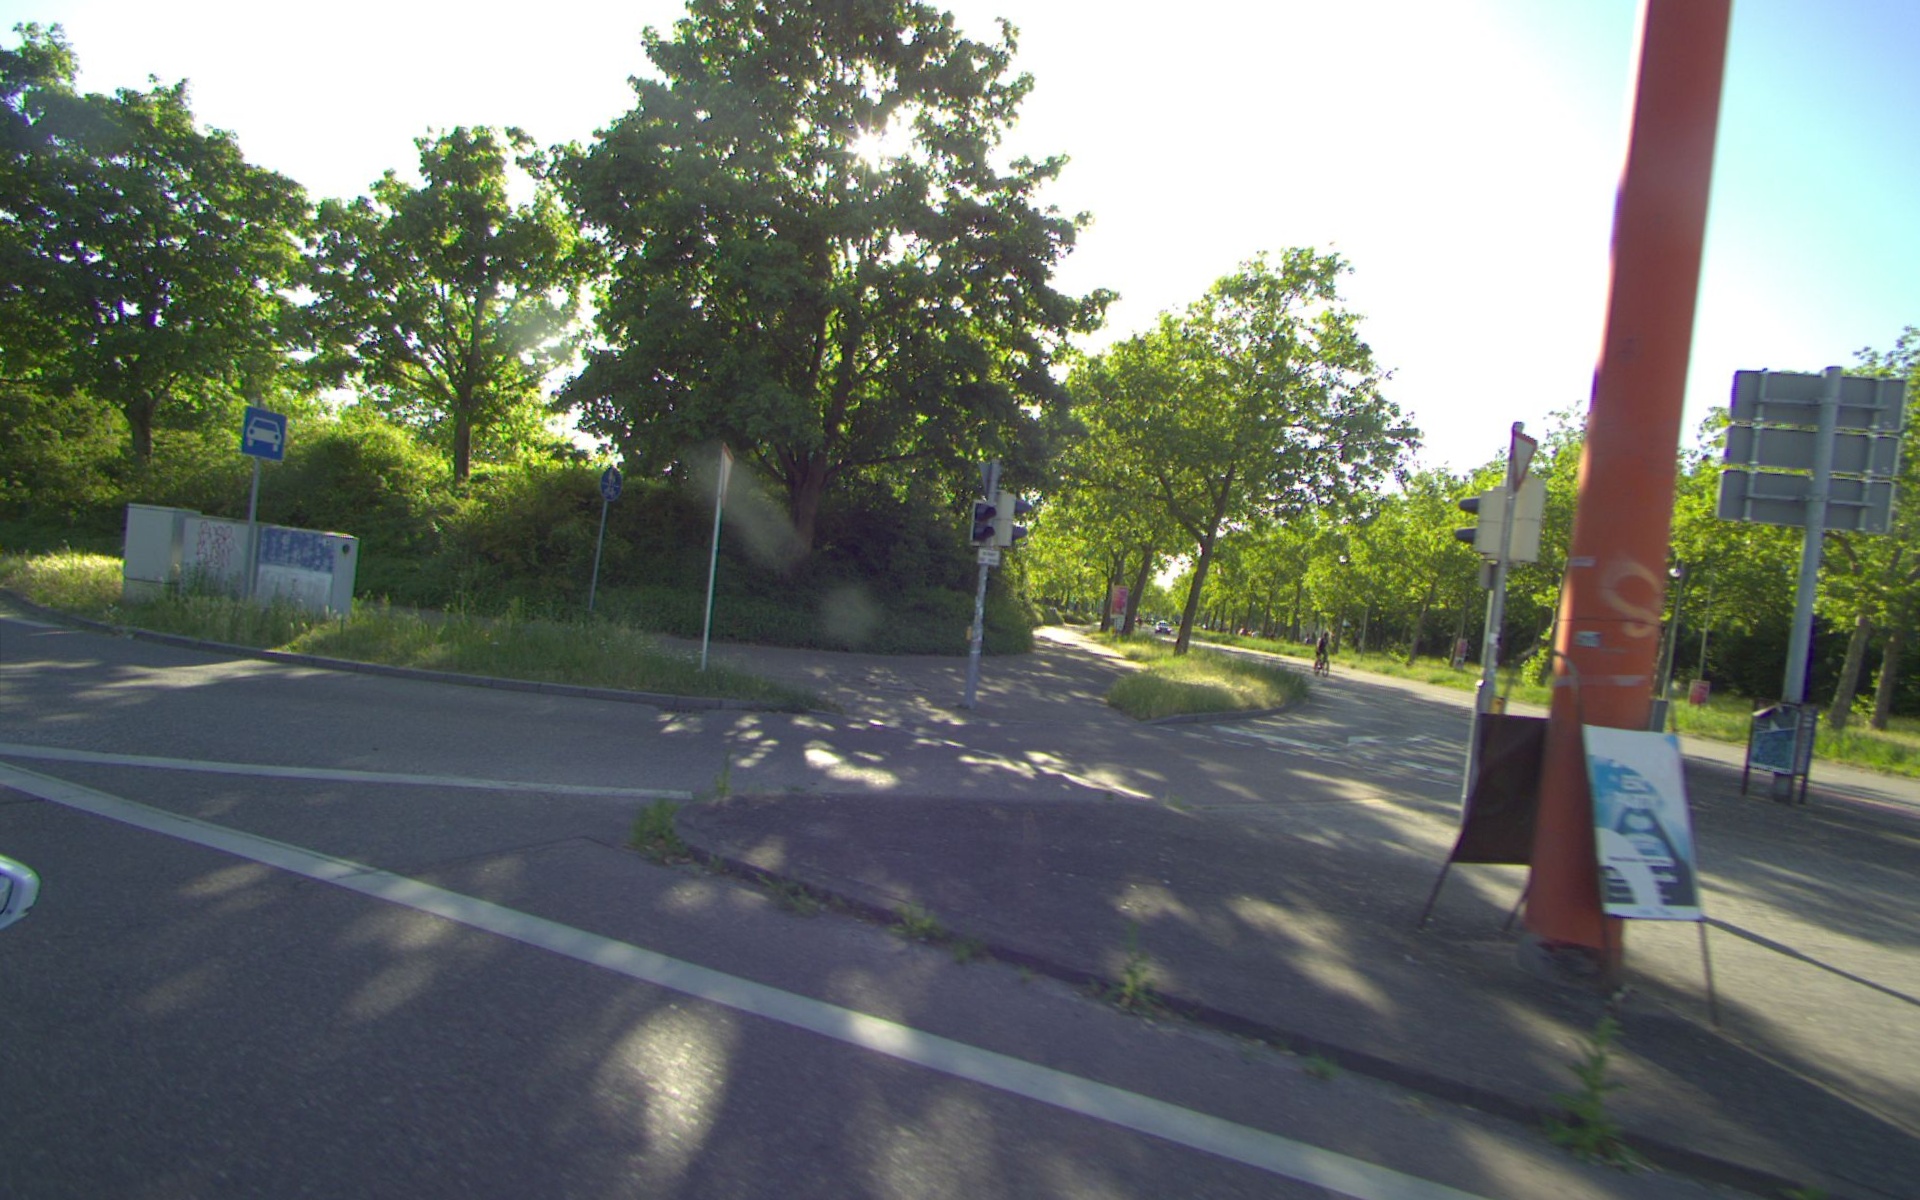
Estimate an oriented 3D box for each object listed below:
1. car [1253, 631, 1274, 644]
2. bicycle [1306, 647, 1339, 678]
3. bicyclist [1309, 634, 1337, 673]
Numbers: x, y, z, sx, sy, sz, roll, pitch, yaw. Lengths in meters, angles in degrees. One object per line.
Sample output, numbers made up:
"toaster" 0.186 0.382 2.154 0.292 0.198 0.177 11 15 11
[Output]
"car" 46.986 5.770 155.875 1.844 1.646 4.001 8 -1 0
"bicycle" 14.686 2.511 40.799 0.723 1.105 2.016 6 0 8
"bicyclist" 14.727 2.164 40.849 0.723 1.454 0.966 6 1 8
